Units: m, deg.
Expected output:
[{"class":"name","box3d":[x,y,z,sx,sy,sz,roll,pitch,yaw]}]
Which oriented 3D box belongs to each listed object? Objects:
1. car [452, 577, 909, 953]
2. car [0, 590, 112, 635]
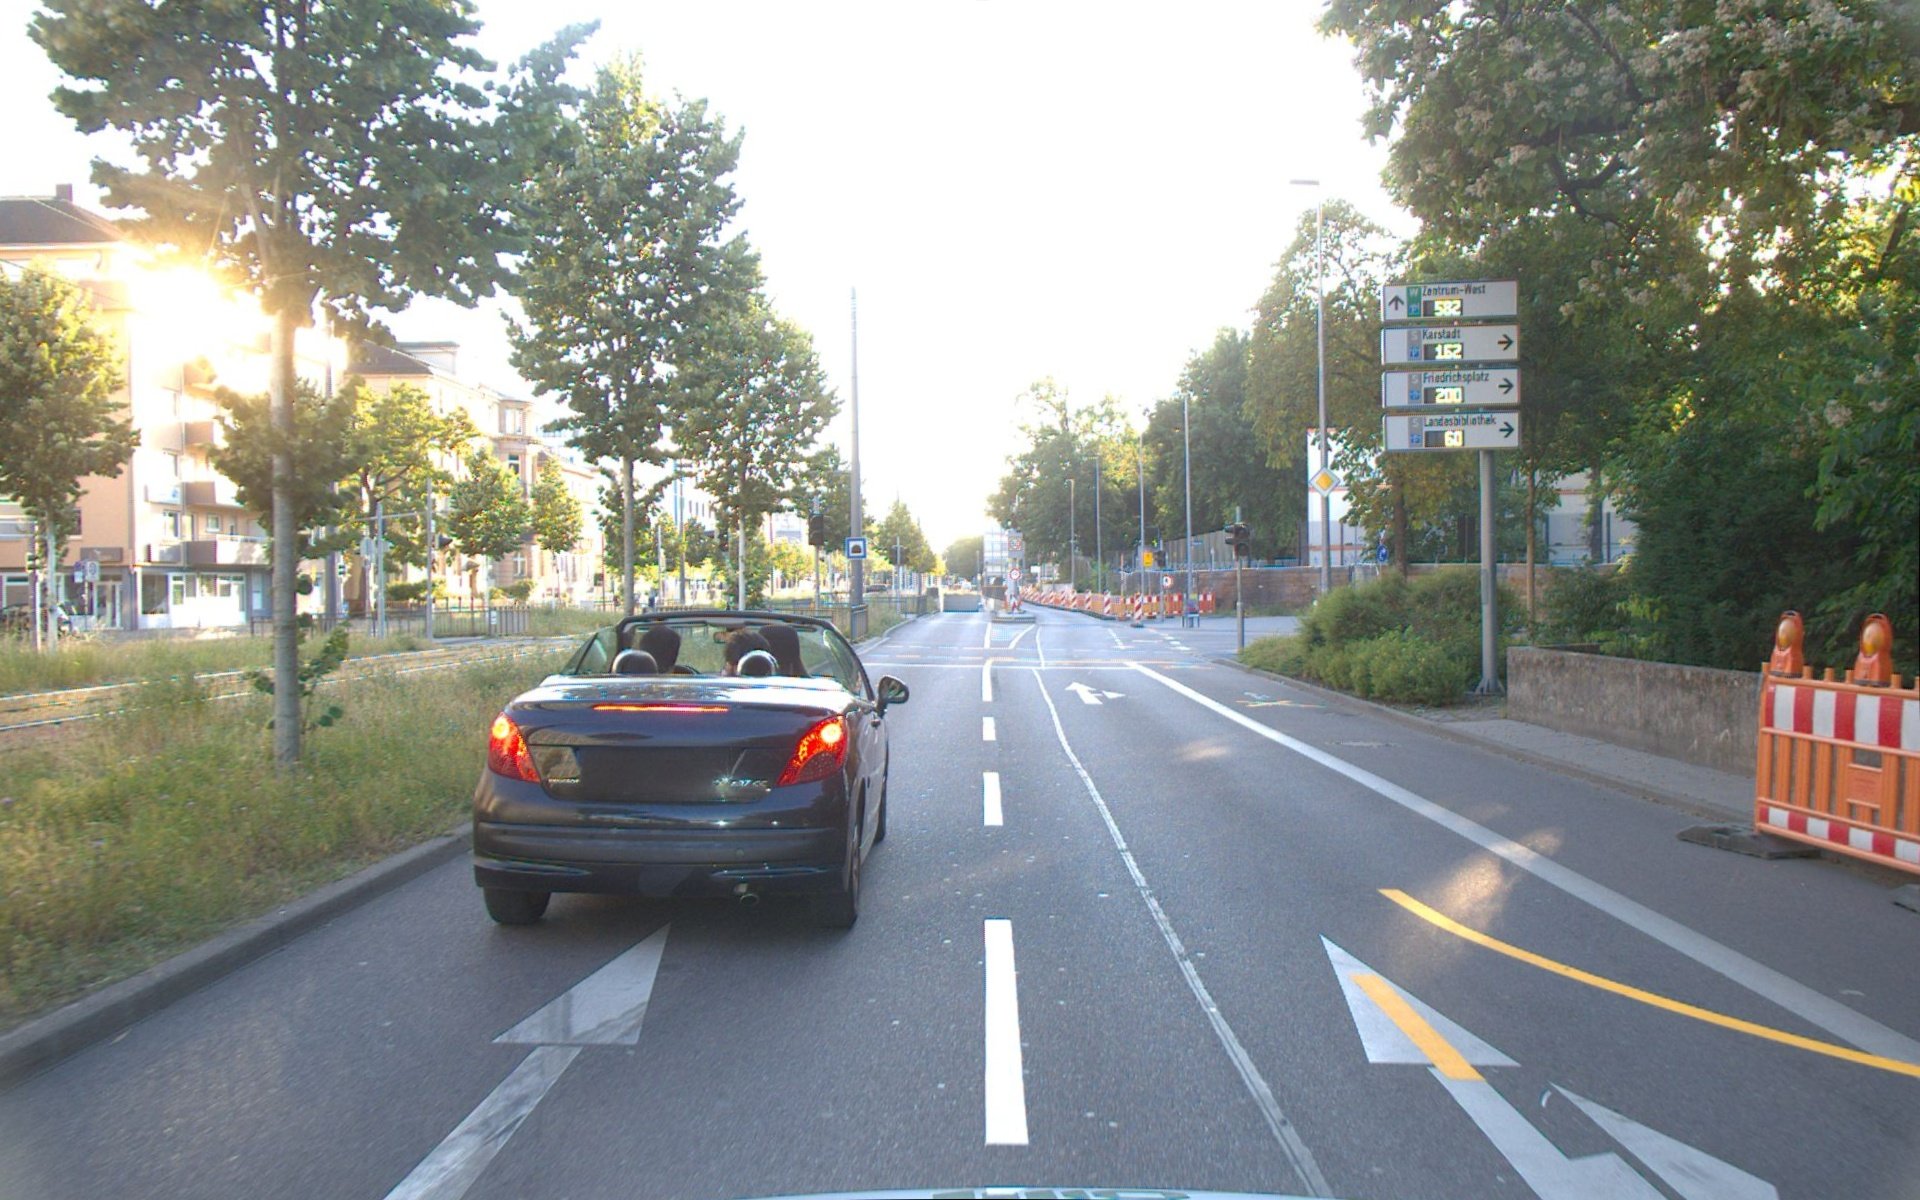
[{"class":"car","box3d":[-1.183,0.637,8.593,1.683,1.475,3.902,1,1,0]},{"class":"car","box3d":[-39.361,0.532,71.848,3.853,1.878,2.191,-1,0,0]}]
